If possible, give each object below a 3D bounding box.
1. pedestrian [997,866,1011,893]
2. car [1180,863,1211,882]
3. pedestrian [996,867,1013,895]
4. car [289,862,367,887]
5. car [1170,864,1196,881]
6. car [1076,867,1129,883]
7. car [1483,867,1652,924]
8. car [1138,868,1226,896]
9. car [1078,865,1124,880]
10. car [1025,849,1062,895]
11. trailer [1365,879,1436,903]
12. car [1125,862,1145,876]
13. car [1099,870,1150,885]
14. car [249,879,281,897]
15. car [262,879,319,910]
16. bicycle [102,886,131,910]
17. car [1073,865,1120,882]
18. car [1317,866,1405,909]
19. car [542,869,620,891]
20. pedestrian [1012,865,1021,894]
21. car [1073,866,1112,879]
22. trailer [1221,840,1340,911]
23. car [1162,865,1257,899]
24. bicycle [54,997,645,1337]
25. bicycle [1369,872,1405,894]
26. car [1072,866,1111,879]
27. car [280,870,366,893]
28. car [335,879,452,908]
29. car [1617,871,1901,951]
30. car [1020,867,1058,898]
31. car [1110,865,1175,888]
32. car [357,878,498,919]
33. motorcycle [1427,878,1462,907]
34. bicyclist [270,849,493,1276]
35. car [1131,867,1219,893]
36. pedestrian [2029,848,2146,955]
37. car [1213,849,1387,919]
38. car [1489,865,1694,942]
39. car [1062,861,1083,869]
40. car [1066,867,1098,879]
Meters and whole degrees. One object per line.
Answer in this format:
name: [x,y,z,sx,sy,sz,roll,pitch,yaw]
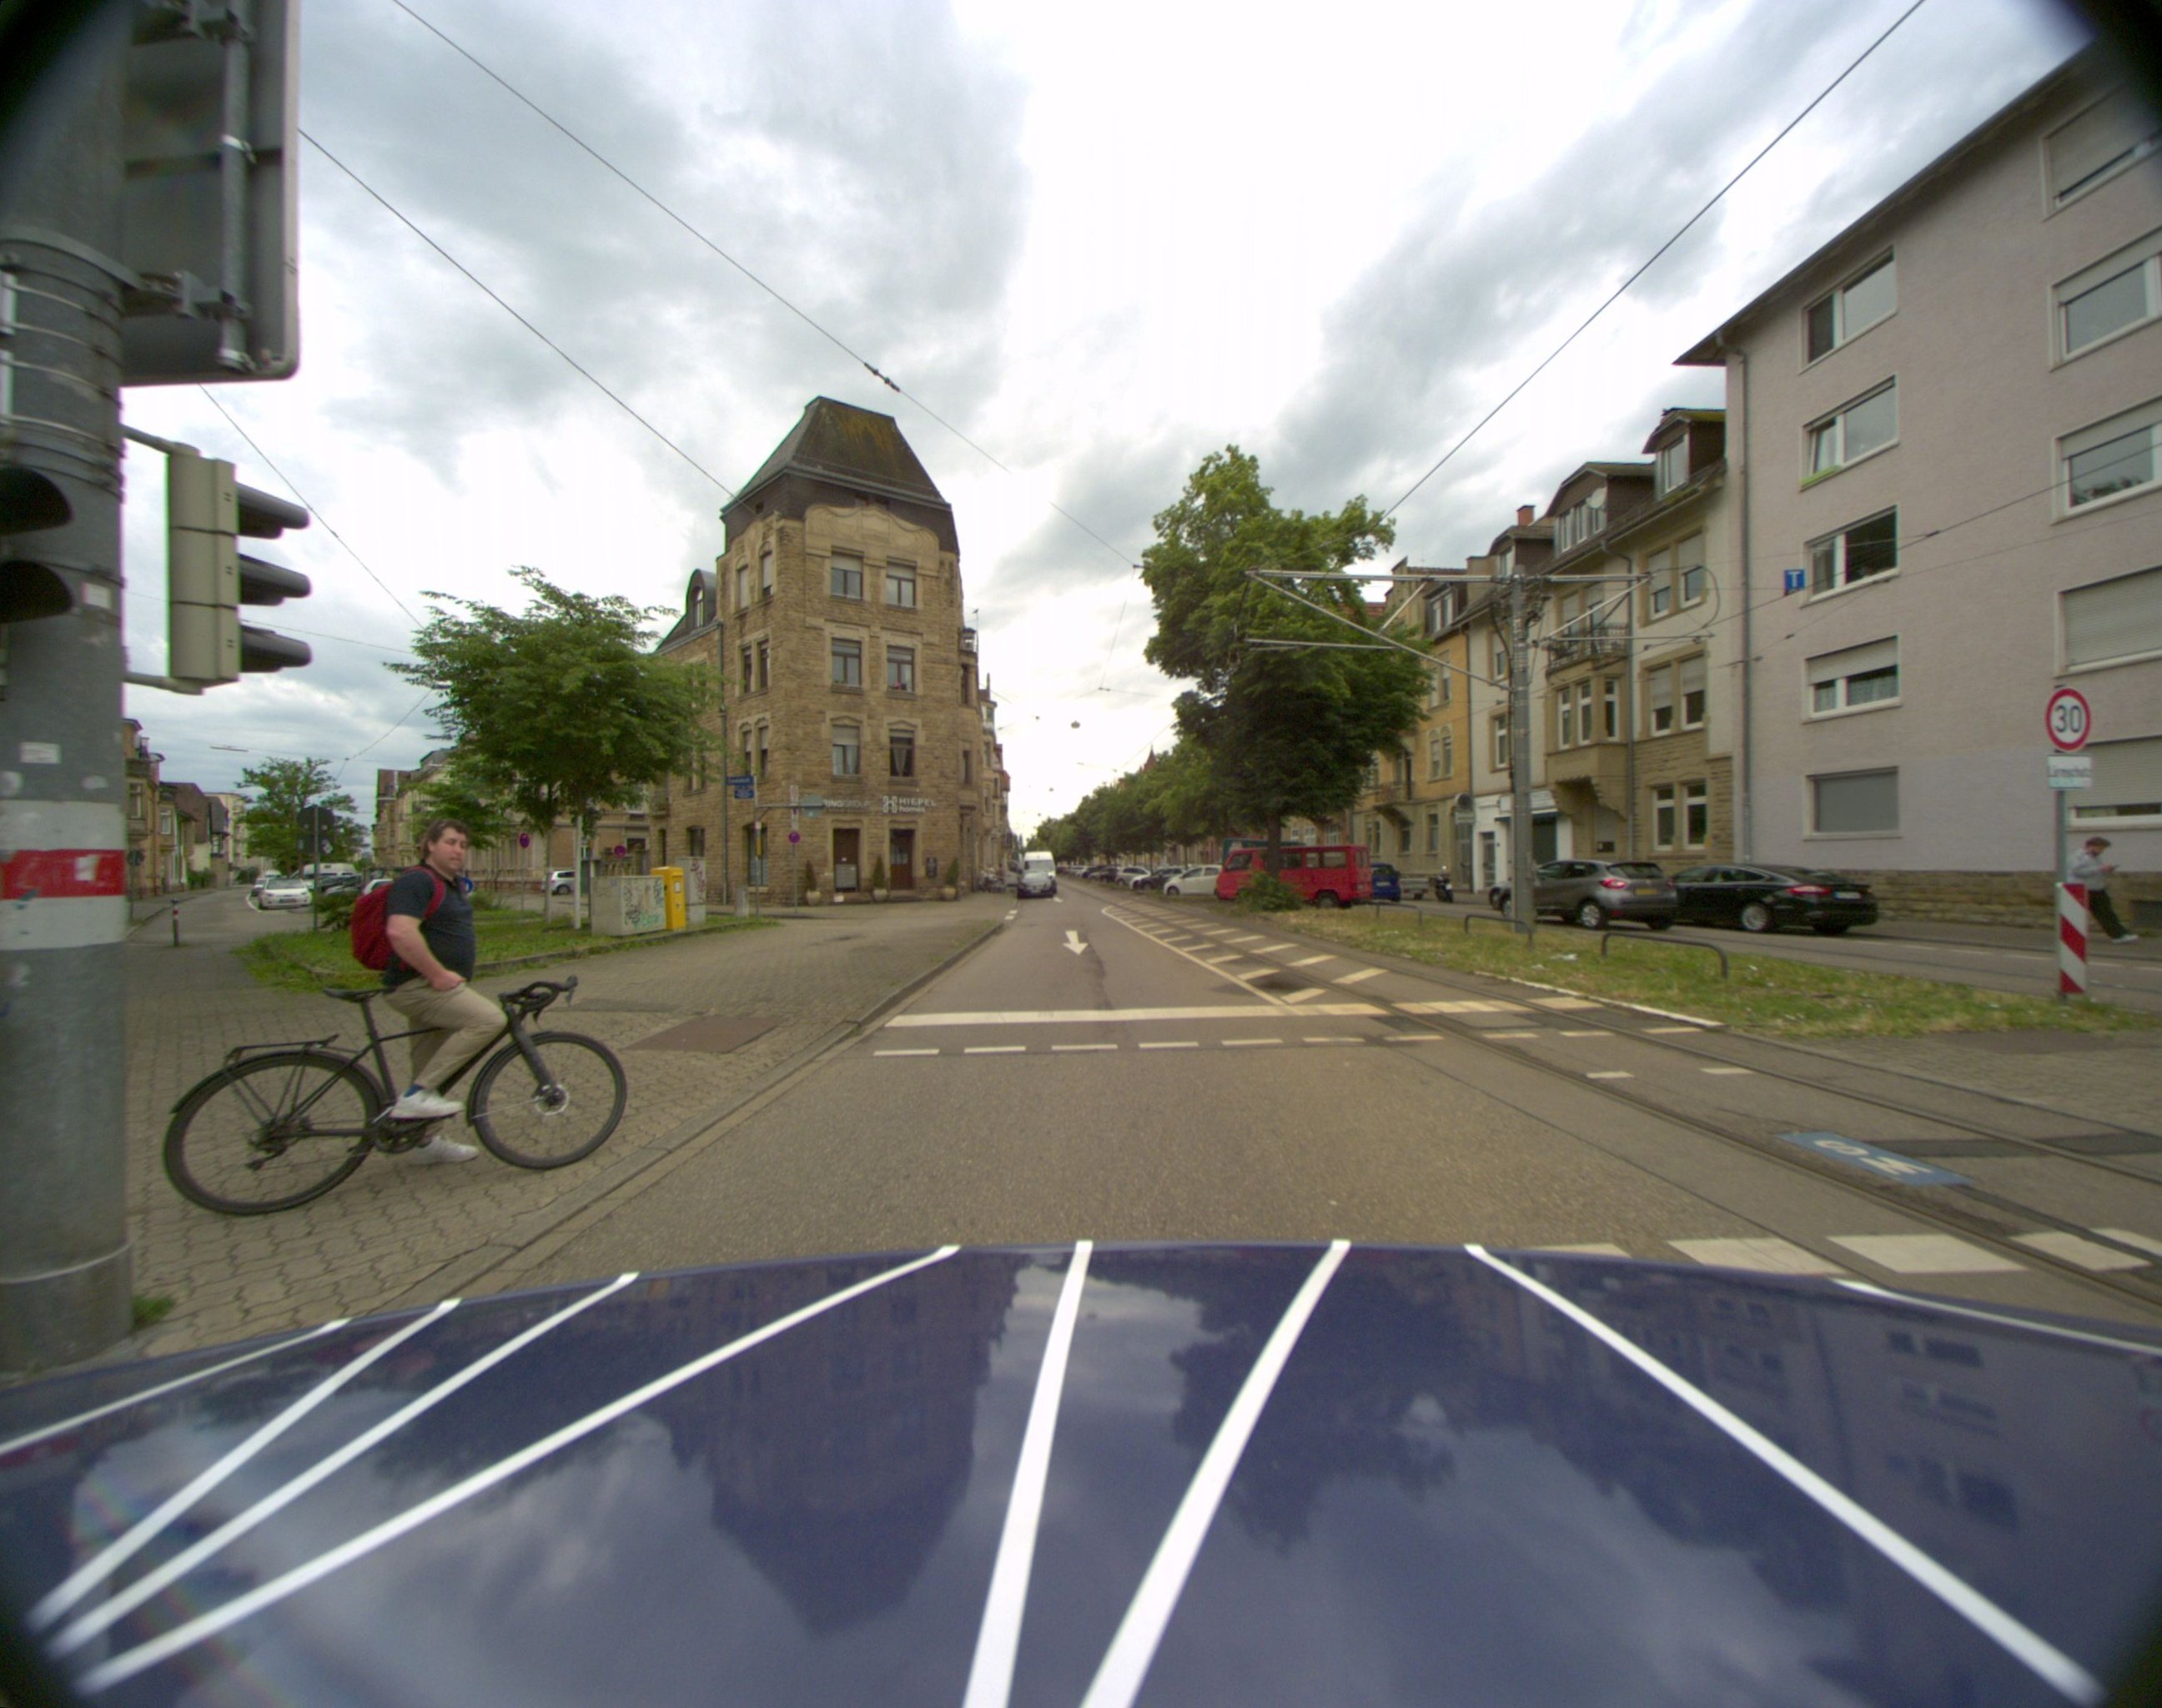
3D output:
pedestrian: [-4.925,1.642,48.588,0.706,1.689,0.492,2,-1,-32]
car: [10.486,1.681,69.702,1.745,1.617,4.552,-1,0,-5]
pedestrian: [-4.711,1.628,46.651,0.866,1.689,0.537,2,-1,-18]
car: [-77.463,2.097,78.247,5.326,2.488,2.346,0,0,-11]
car: [9.984,1.802,74.501,1.667,1.550,3.721,-1,0,-5]
car: [1.957,1.907,69.169,4.655,1.360,1.761,-2,-1,38]
car: [13.935,1.124,22.144,1.639,1.434,4.568,-1,-1,-6]
car: [5.403,1.486,40.962,4.328,1.426,1.903,-1,-1,38]
car: [2.066,1.877,78.971,4.529,1.481,2.040,-1,0,40]
car: [-2.364,1.068,46.851,2.019,2.533,7.015,-2,-1,-4]
trailer: [13.480,1.559,32.225,1.459,0.887,3.075,1,-1,-6]
car: [6.019,1.655,84.857,1.649,1.495,3.882,-1,0,-5]
car: [3.544,1.937,62.143,3.952,1.195,1.672,-2,-1,39]
car: [-67.252,2.786,62.644,4.032,1.425,1.759,0,-1,44]
car: [-39.940,1.993,38.350,4.032,1.425,1.759,0,-1,41]
bicycle: [-42.457,1.910,33.454,0.570,0.997,1.774,0,-1,-44]
car: [1.530,1.954,75.716,4.520,1.623,1.769,-1,0,40]
car: [10.678,1.230,29.238,1.649,1.525,3.628,-1,0,-7]
car: [-33.487,1.747,50.942,4.053,1.425,1.750,2,-1,-44]
pedestrian: [-4.088,1.612,47.907,0.500,1.804,0.803,2,-1,-3]
car: [1.397,2.280,93.821,4.552,1.484,1.867,-2,0,41]
trailer: [6.997,0.736,26.644,3.661,2.330,1.935,-1,-1,28]
car: [5.748,1.246,34.113,3.852,1.454,1.693,-1,-1,38]
bicycle: [-3.231,1.307,3.654,1.872,0.918,0.794,-1,-1,-36]
bicycle: [15.887,1.509,39.508,0.713,1.066,2.259,-1,-1,-6]
car: [1.167,2.126,86.467,4.118,1.304,1.867,-2,-1,39]
car: [-71.260,2.549,71.519,5.326,2.010,2.346,0,0,-11]
car: [-35.037,2.007,38.871,4.047,1.425,1.752,1,-1,-19]
car: [14.428,1.115,16.644,1.639,1.434,4.761,-1,-1,-6]
car: [-2.236,1.472,40.440,1.829,1.441,5.005,-2,-1,-3]
car: [4.183,1.552,51.867,4.106,1.475,1.801,-2,-1,36]
car: [-24.102,1.634,28.163,3.545,1.425,1.705,1,-1,-16]
motorcycle: [13.975,1.454,29.253,0.710,1.032,2.232,-1,0,12]
bicyclist: [-3.366,0.885,3.747,0.683,1.784,0.889,-1,0,-36]
car: [5.434,1.513,44.170,4.675,1.426,1.903,-1,-1,35]
pedestrian: [17.070,0.781,12.910,0.800,1.756,0.900,0,0,-5]
car: [6.673,0.892,23.376,4.755,1.962,1.964,-1,-1,34]
car: [11.495,1.028,17.501,1.649,1.525,4.130,-1,0,-6]
car: [-1.689,2.205,151.374,3.992,1.407,1.901,-1,-2,16]
car: [0.163,2.552,104.431,4.195,1.600,1.728,0,1,37]
